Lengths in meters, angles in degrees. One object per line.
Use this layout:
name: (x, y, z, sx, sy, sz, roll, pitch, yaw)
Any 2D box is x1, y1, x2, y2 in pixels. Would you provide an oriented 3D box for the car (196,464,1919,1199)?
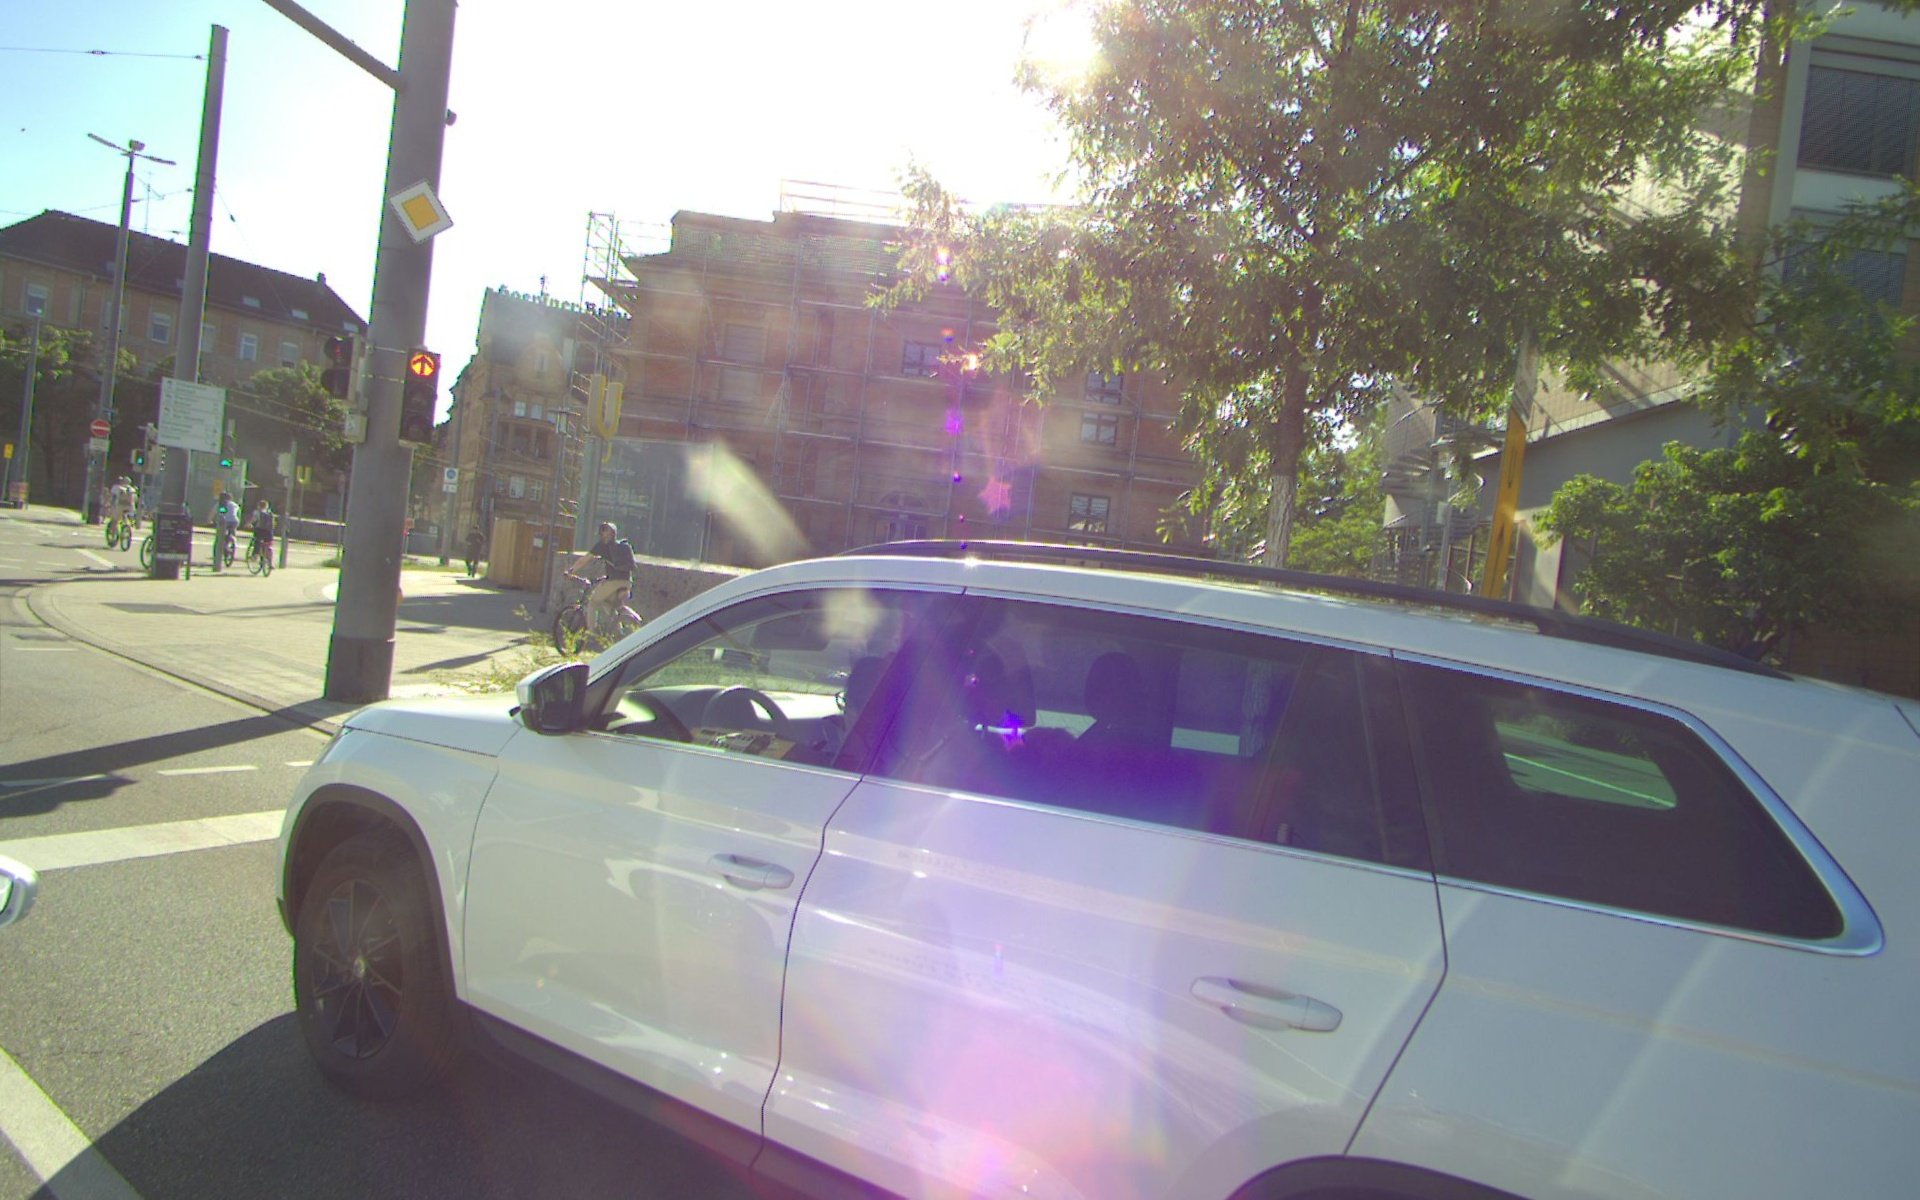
car: (0.005, 0.698, 2.696, 4.224, 1.662, 1.697, 7, 0, 30)

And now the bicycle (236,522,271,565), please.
bicycle: (-21.130, -1.698, 30.075, 0.569, 1.140, 1.719, 4, 2, -43)

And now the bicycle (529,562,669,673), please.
bicycle: (-4.751, 0.212, 13.198, 1.804, 1.234, 0.690, 7, 3, 32)

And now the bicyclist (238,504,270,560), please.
bicyclist: (-21.162, -2.045, 30.135, 0.569, 1.589, 0.935, 4, 3, -43)

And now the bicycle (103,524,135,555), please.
bicycle: (-21.809, -1.582, 26.099, 0.534, 0.664, 1.707, 6, 1, -38)

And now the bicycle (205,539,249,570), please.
bicycle: (-19.056, -1.188, 26.135, 1.446, 0.664, 0.536, 7, 2, 39)

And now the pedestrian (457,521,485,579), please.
pedestrian: (-16.977, -1.727, 34.949, 0.692, 1.904, 0.716, 6, 1, -26)

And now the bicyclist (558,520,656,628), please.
bicyclist: (-4.616, -0.334, 13.162, 0.892, 1.296, 0.720, 7, 3, 32)

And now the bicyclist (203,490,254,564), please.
bicyclist: (-19.004, -1.891, 26.141, 0.910, 1.802, 0.746, 8, 2, 39)

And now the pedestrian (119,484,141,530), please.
pedestrian: (-38.796, -4.349, 47.030, 0.443, 2.039, 0.462, 7, 2, 14)

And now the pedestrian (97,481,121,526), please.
pedestrian: (-40.048, -4.543, 47.351, 0.443, 2.039, 0.574, 7, 1, 14)

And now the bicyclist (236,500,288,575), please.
bicyclist: (-16.198, -1.442, 23.344, 0.963, 1.619, 0.684, 7, 2, 41)

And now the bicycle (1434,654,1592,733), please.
bicycle: (13.056, 2.188, 23.839, 3.079, 1.395, 0.798, 7, 1, 8)

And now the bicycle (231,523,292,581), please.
bicycle: (-16.196, -1.124, 23.306, 1.857, 1.179, 0.684, 7, 2, 41)

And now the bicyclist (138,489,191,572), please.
bicyclist: (-17.145, -1.492, 21.670, 0.980, 1.659, 0.624, 8, 3, 40)

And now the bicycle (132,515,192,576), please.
bicycle: (-17.251, -1.182, 21.739, 1.824, 1.128, 0.624, 8, 3, 40)

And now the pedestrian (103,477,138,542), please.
pedestrian: (-21.741, -2.336, 26.053, 0.545, 1.582, 0.849, 6, 1, -38)
